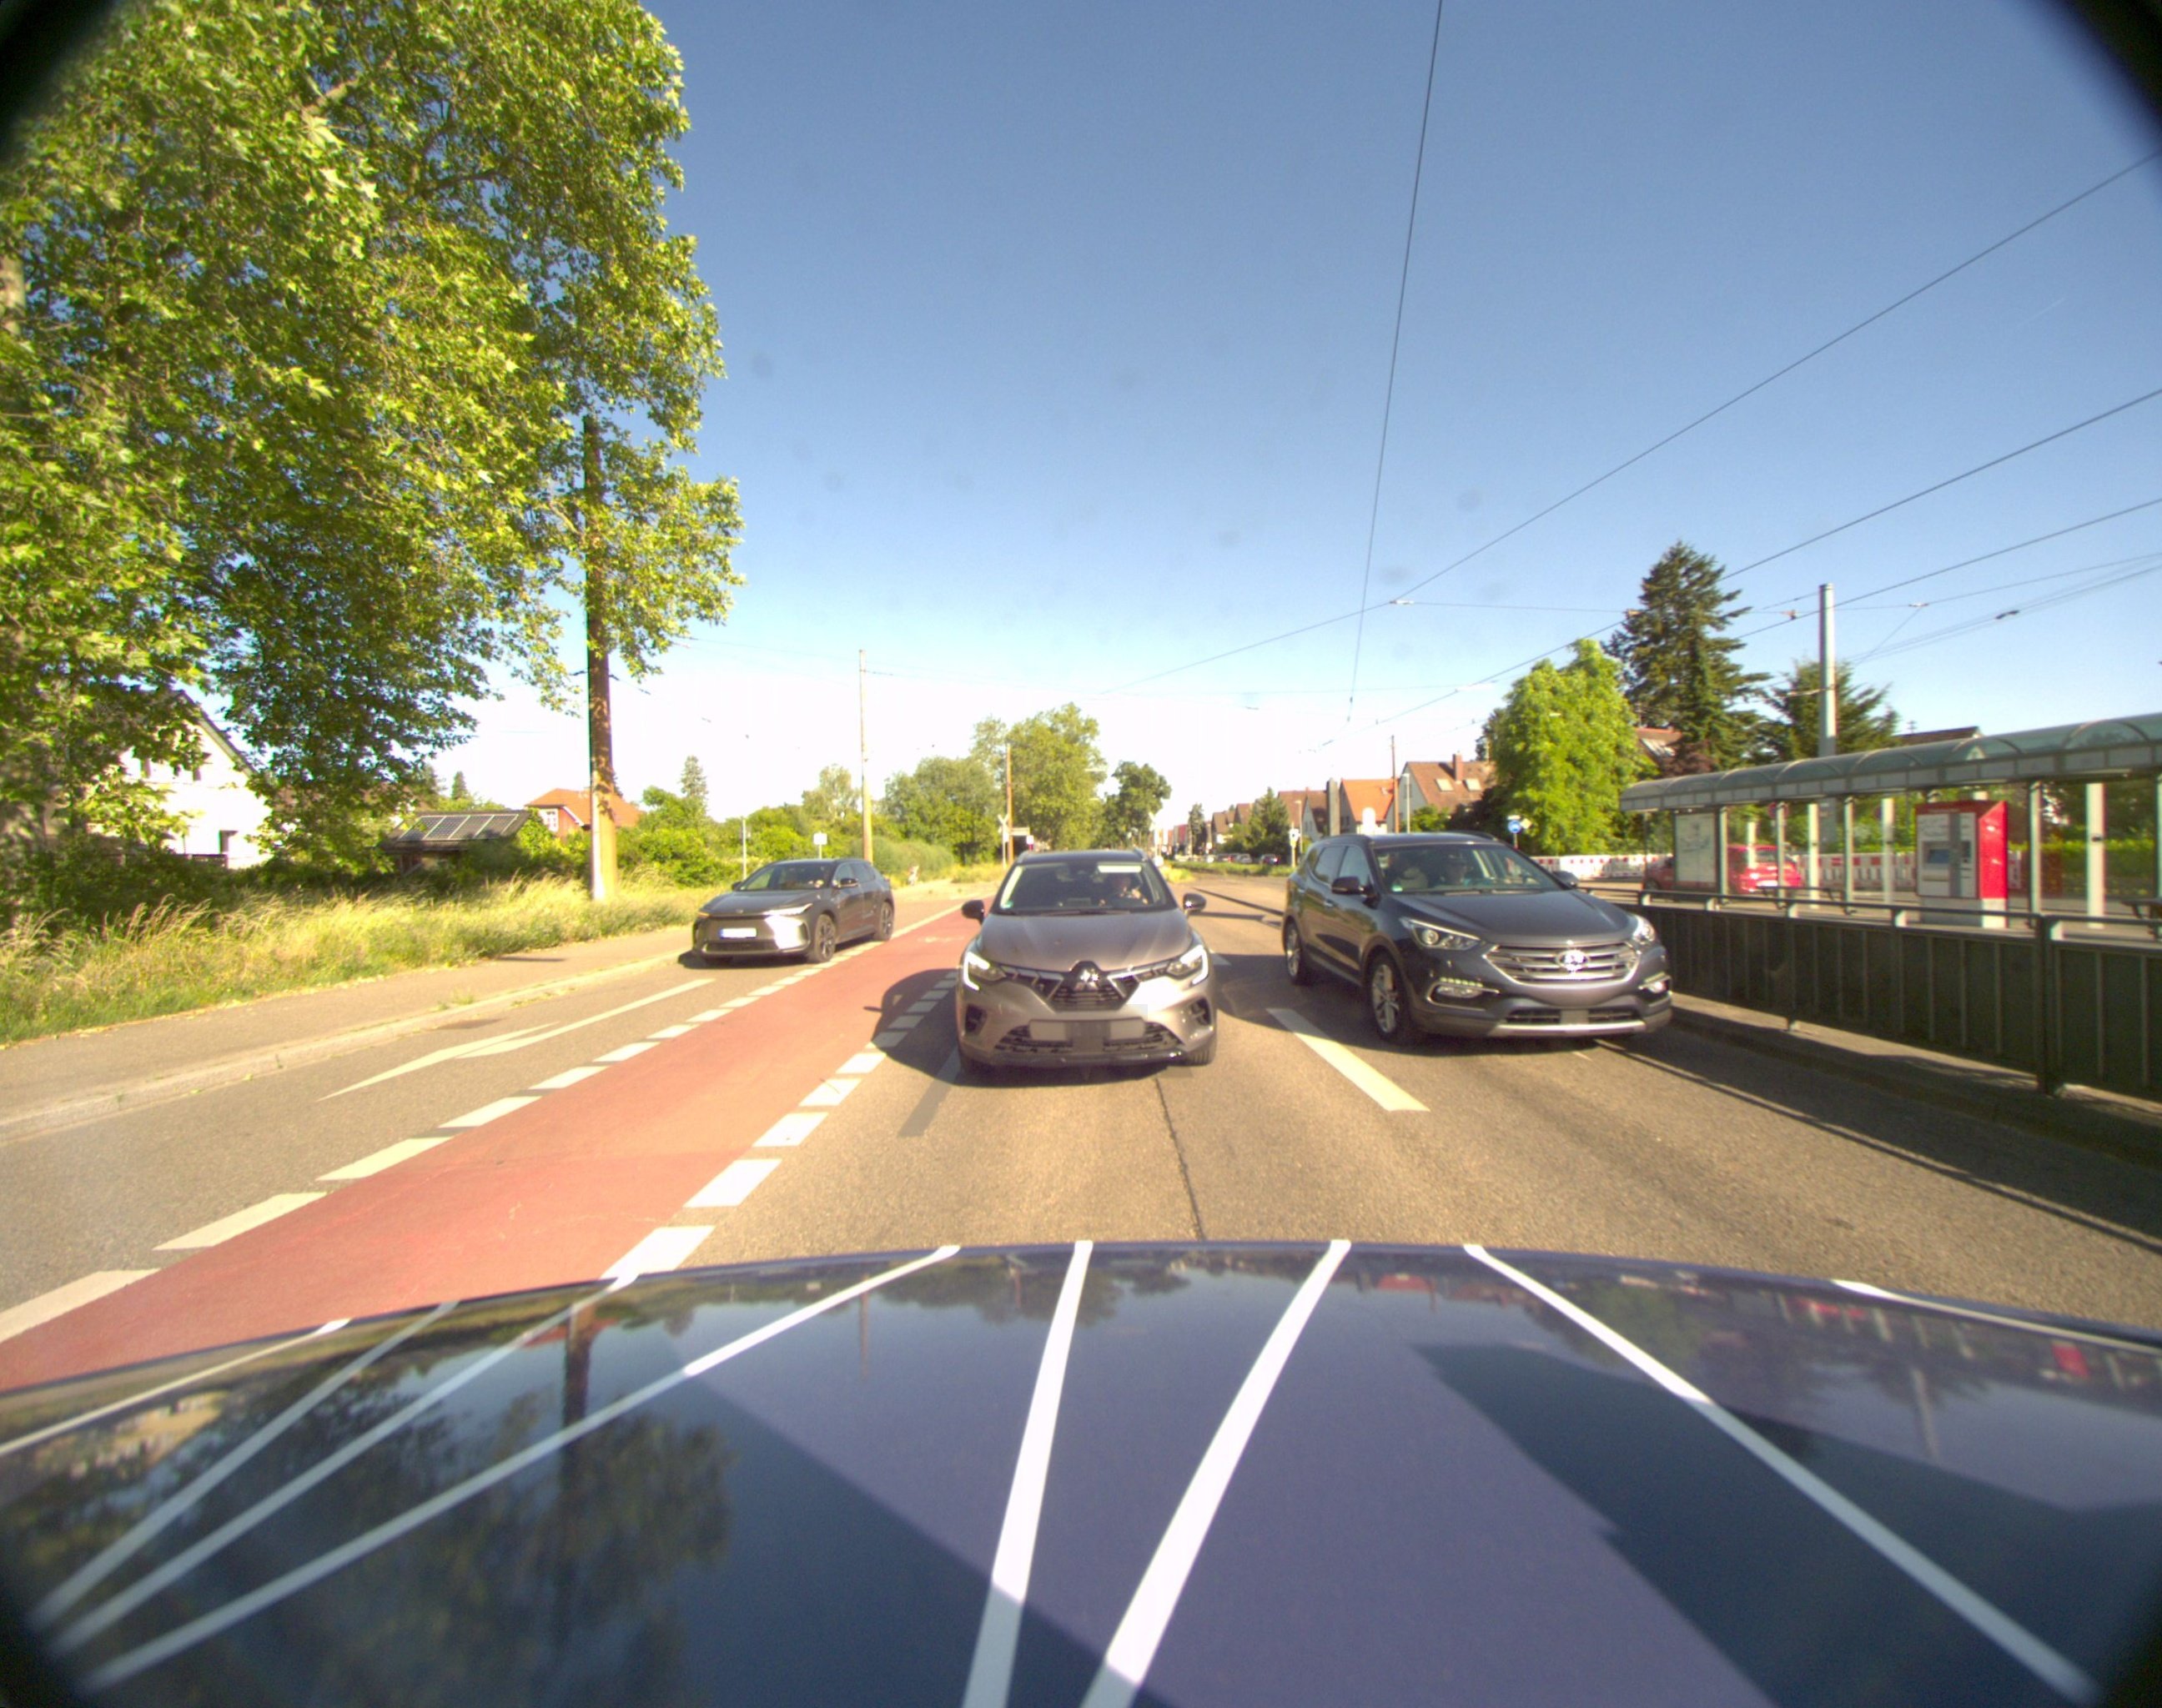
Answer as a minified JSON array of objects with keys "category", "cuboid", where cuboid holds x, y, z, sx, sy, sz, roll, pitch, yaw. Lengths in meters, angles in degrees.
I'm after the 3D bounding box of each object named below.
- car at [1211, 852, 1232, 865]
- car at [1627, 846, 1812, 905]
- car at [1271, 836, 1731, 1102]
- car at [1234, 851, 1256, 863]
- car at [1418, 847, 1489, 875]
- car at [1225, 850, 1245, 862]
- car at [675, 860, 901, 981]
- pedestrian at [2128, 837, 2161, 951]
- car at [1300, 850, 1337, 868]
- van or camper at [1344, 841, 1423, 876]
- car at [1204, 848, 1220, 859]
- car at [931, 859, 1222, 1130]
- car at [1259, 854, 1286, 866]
[{"category":"car","cuboid":[16.754,0.552,90.610,1.740,1.511,4.344,-1,0,0]},{"category":"car","cuboid":[16.867,0.521,20.352,1.608,1.394,4.016,-1,0,1]},{"category":"car","cuboid":[3.139,0.719,6.851,1.780,1.620,4.288,-1,0,0]},{"category":"car","cuboid":[22.060,0.335,102.359,1.888,1.464,4.838,-3,0,1]},{"category":"car","cuboid":[21.880,0.376,44.827,1.999,1.492,4.067,-3,1,-2]},{"category":"car","cuboid":[21.799,0.241,107.412,1.888,1.552,4.536,-3,0,0]},{"category":"car","cuboid":[-4.617,0.948,12.836,1.770,1.621,4.499,-1,0,4]},{"category":"pedestrian","cuboid":[14.228,0.507,9.426,1.063,1.444,1.007,-1,1,0]},{"category":"car","cuboid":[21.619,0.405,69.383,1.912,1.457,4.440,-3,1,0]},{"category":"van or camper","cuboid":[17.091,0.198,43.315,1.999,1.817,5.986,-2,1,-1]},{"category":"car","cuboid":[22.070,-0.102,127.961,1.998,1.852,4.584,-2,0,1]},{"category":"car","cuboid":[-0.040,0.843,6.279,1.673,1.529,3.586,-2,0,-1]},{"category":"car","cuboid":[22.129,0.666,87.986,1.998,1.363,4.310,-2,0,1]}]
